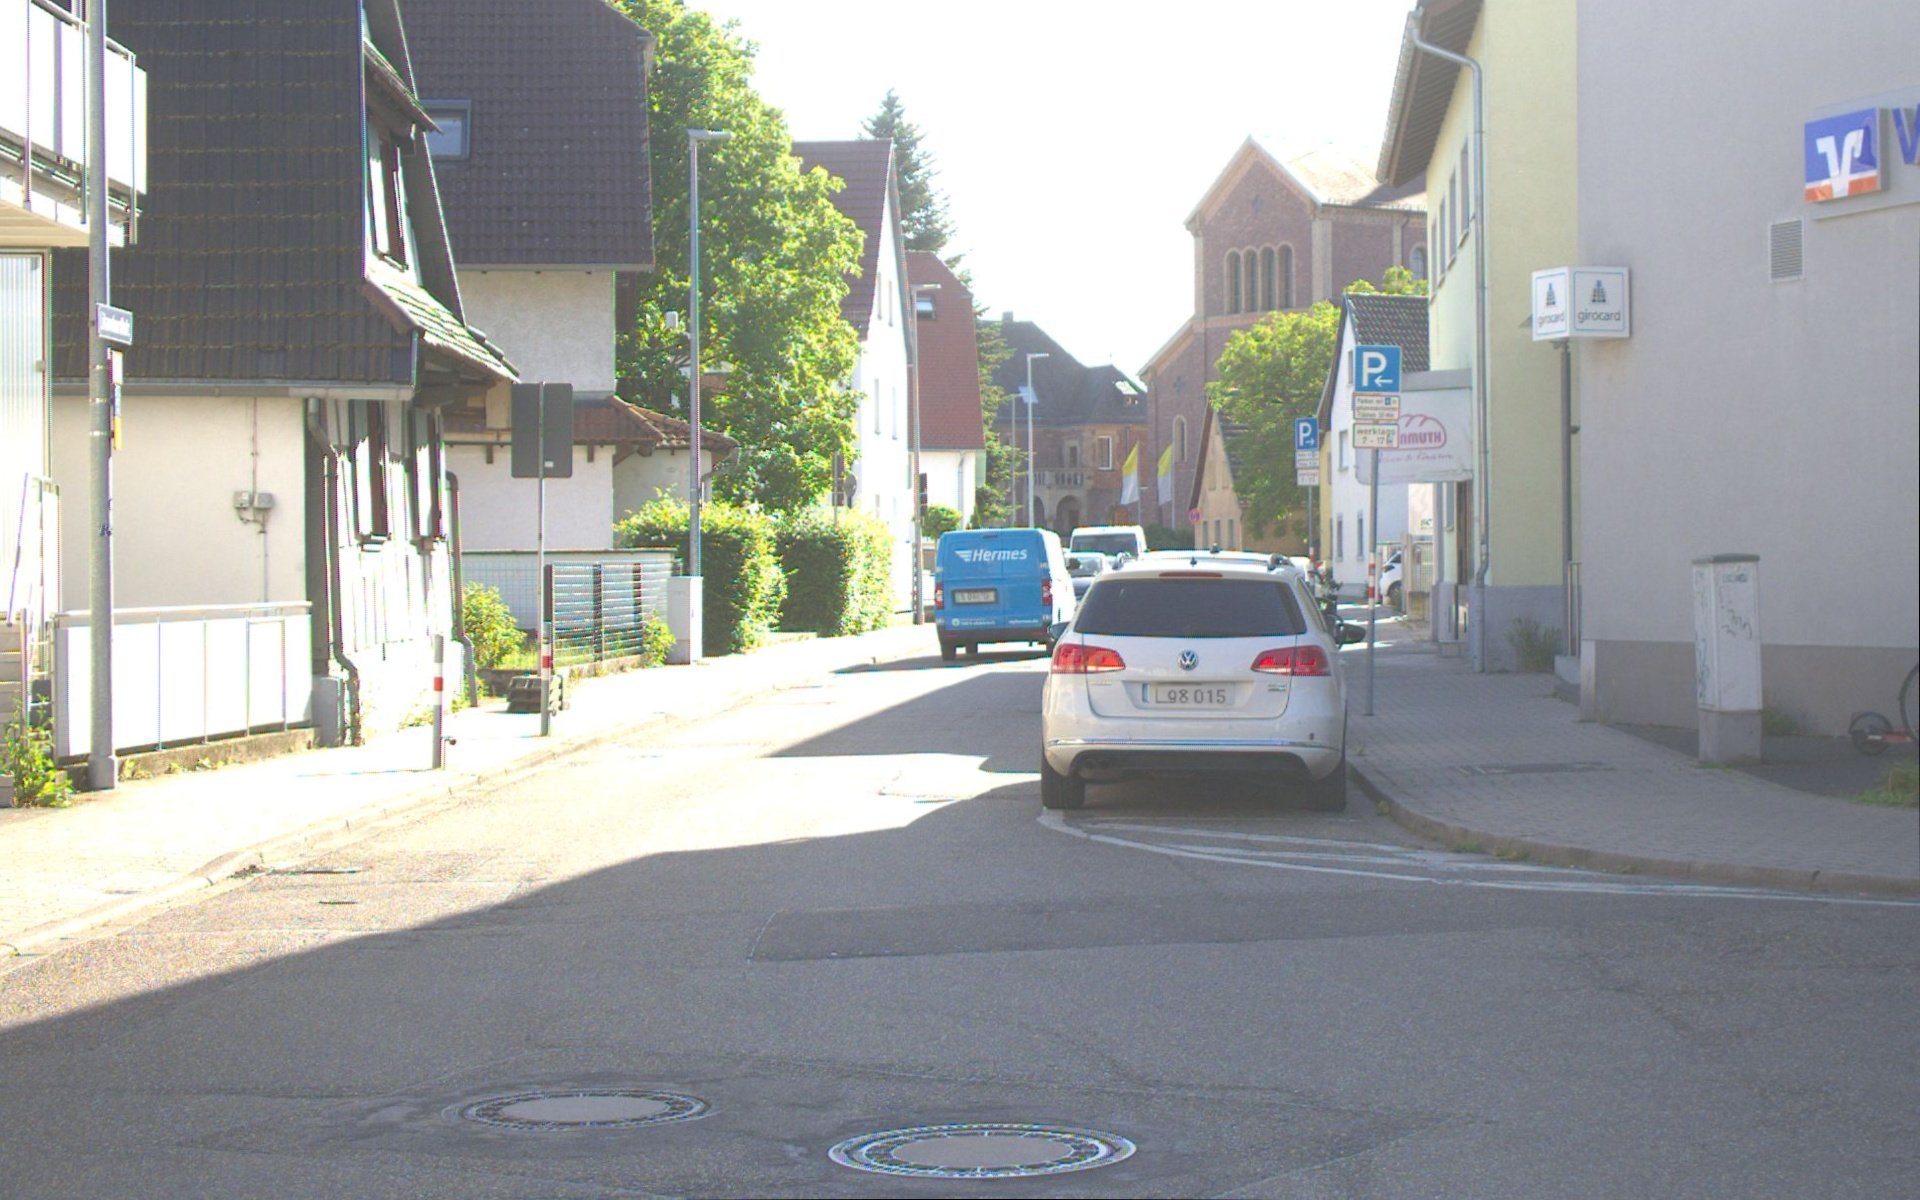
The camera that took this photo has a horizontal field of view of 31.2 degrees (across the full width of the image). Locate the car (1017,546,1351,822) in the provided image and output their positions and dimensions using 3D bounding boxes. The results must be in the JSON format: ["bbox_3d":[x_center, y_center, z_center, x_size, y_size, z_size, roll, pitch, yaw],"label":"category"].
[{"bbox_3d":[1.492,0.433,21.330,1.846,1.508,4.505,0,1,6],"label":"car"}]

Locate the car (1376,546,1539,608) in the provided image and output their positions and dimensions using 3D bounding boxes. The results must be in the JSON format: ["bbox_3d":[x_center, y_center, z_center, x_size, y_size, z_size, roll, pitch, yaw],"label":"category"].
[{"bbox_3d":[12.735,-0.587,87.987,3.915,1.487,1.846,-1,0,15],"label":"car"}]

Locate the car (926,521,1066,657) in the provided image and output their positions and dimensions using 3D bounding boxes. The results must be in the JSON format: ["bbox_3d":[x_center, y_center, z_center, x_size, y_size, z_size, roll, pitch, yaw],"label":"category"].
[{"bbox_3d":[0.599,-0.194,52.245,1.902,1.911,5.069,-2,1,3],"label":"car"}]

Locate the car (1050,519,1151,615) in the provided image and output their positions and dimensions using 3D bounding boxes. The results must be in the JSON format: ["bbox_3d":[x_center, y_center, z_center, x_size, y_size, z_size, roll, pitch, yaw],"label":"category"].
[{"bbox_3d":[3.772,-0.905,91.324,2.197,2.382,6.063,-2,1,6],"label":"car"}]

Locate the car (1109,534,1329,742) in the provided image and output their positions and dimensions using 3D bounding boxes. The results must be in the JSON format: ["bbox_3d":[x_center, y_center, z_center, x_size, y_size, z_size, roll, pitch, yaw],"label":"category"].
[{"bbox_3d":[2.024,0.248,27.518,1.610,1.515,3.971,1,1,3],"label":"car"}]

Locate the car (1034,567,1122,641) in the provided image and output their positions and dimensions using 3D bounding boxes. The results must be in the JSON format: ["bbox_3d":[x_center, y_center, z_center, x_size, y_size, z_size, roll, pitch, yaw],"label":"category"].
[{"bbox_3d":[2.772,0.066,79.946,1.715,1.593,3.924,-2,1,6],"label":"car"}]

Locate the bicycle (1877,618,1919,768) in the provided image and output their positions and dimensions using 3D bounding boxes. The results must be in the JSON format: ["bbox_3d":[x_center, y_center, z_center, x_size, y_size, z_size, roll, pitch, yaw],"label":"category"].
[{"bbox_3d":[6.255,0.565,21.147,1.163,0.917,0.313,-1,1,12],"label":"bicycle"}]

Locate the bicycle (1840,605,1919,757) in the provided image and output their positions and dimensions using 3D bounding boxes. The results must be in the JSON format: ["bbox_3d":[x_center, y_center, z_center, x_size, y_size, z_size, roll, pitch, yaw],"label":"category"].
[{"bbox_3d":[6.330,0.522,22.217,1.223,0.972,0.320,-1,1,17],"label":"bicycle"}]

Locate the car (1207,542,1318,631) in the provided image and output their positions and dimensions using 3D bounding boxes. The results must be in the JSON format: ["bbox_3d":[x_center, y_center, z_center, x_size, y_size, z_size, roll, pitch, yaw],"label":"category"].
[{"bbox_3d":[5.180,-0.256,59.071,1.812,1.470,4.659,0,1,5],"label":"car"}]

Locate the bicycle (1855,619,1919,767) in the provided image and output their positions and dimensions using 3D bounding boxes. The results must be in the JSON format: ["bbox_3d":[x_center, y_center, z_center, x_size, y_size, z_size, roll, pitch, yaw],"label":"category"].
[{"bbox_3d":[6.235,0.577,21.578,1.163,0.917,0.313,-1,1,12],"label":"bicycle"}]
